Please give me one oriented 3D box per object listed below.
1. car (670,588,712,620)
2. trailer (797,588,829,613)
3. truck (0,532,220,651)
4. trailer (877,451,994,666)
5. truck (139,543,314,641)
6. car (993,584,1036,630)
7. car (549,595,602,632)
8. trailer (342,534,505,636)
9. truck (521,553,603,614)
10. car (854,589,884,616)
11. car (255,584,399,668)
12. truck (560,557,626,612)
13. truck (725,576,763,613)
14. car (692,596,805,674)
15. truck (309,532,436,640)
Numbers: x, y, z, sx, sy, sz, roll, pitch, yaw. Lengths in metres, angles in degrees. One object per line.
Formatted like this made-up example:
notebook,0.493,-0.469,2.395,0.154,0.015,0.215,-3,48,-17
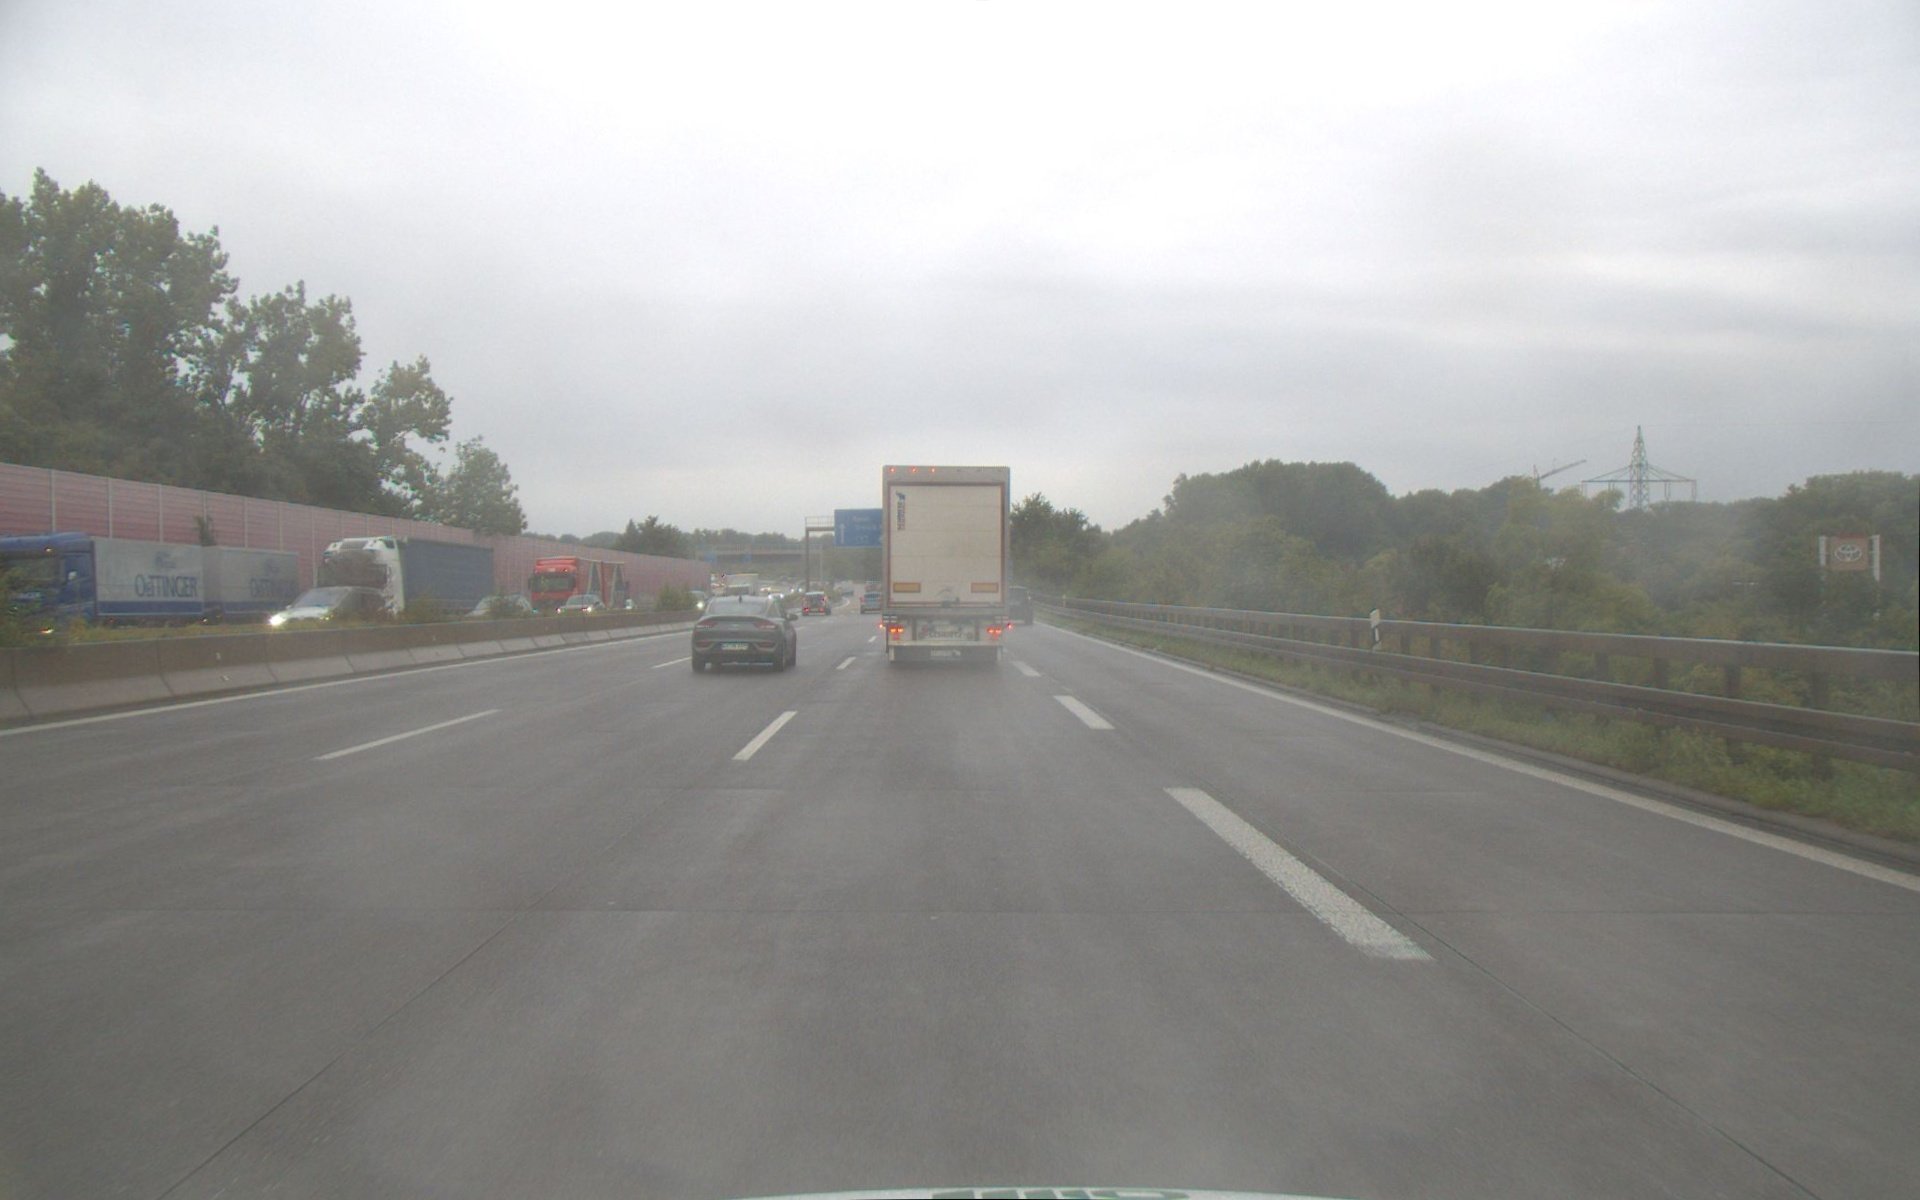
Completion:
car,-16.546,0.231,101.907,1.953,1.892,4.388,0,0,-2
trailer,-9.911,0.042,111.913,1.778,1.653,4.567,0,1,-1
truck,-27.310,-0.265,53.088,2.658,3.409,10.429,1,0,-2
trailer,-0.581,-0.898,39.941,2.295,4.230,14.825,0,1,-1
truck,-27.566,-0.308,62.677,2.912,3.409,8.697,1,0,-2
car,2.444,0.306,75.014,1.858,1.983,4.000,1,0,0
car,-20.644,0.705,89.002,1.953,1.892,4.388,0,0,-2
trailer,-23.743,-0.633,74.220,2.984,4.098,14.122,1,0,-2
truck,-24.377,-1.015,101.933,2.724,3.551,10.615,0,0,-2
car,-6.246,0.159,113.930,1.855,1.754,3.999,1,0,-1
car,-16.273,0.625,42.795,1.953,2.049,4.790,0,0,-1
truck,-24.664,-1.059,111.468,2.724,3.551,8.491,0,0,-2
truck,-17.465,-0.475,133.982,2.220,2.878,7.277,1,0,-2
car,-4.128,0.647,32.911,1.690,1.427,4.827,0,0,-1
truck,-23.523,-0.536,66.568,2.984,4.098,6.049,1,0,-2
